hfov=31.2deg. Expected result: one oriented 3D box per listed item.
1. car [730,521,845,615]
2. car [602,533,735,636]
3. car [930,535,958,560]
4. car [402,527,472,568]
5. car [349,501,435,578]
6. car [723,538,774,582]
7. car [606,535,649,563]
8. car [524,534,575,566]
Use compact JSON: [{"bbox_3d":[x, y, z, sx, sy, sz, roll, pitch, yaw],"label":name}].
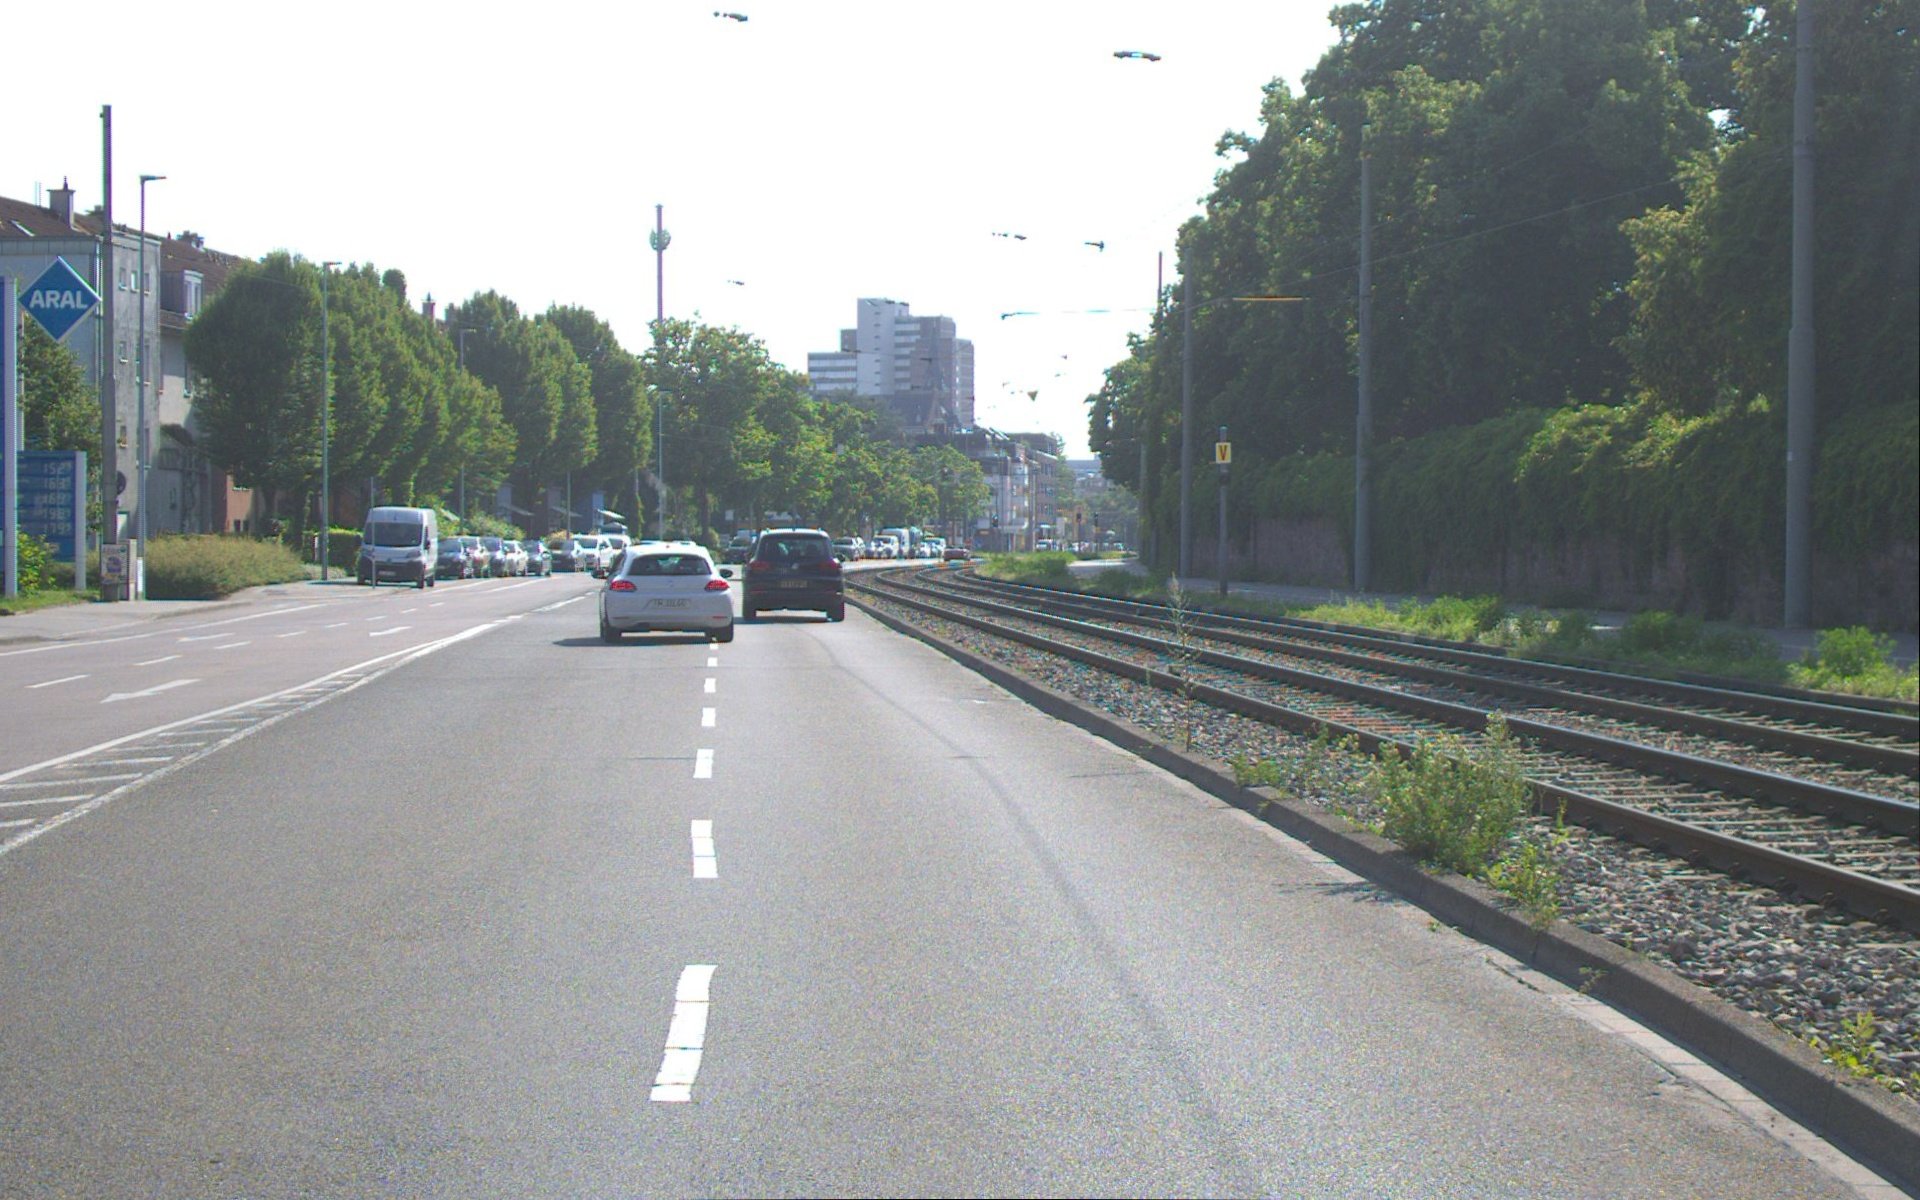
[{"bbox_3d":[-3.142,-0.603,62.232,1.724,1.587,3.602,2,1,-8],"label":"car"},{"bbox_3d":[-4.146,-0.245,49.238,1.780,1.351,3.602,2,1,-4],"label":"car"},{"bbox_3d":[-1.082,-3.570,233.073,1.724,1.587,3.601,2,1,2],"label":"car"},{"bbox_3d":[-18.697,-1.881,123.046,1.993,1.411,3.844,0,1,-2],"label":"car"},{"bbox_3d":[-17.785,-1.913,107.837,1.993,2.368,4.539,0,1,-1],"label":"car"},{"bbox_3d":[-7.500,-1.434,122.056,1.748,1.480,3.602,2,1,-4],"label":"car"},{"bbox_3d":[-17.297,-2.683,178.962,1.993,1.411,3.844,0,1,-2],"label":"car"},{"bbox_3d":[-18.794,-2.289,157.513,1.993,1.411,3.844,0,1,-2],"label":"car"}]
